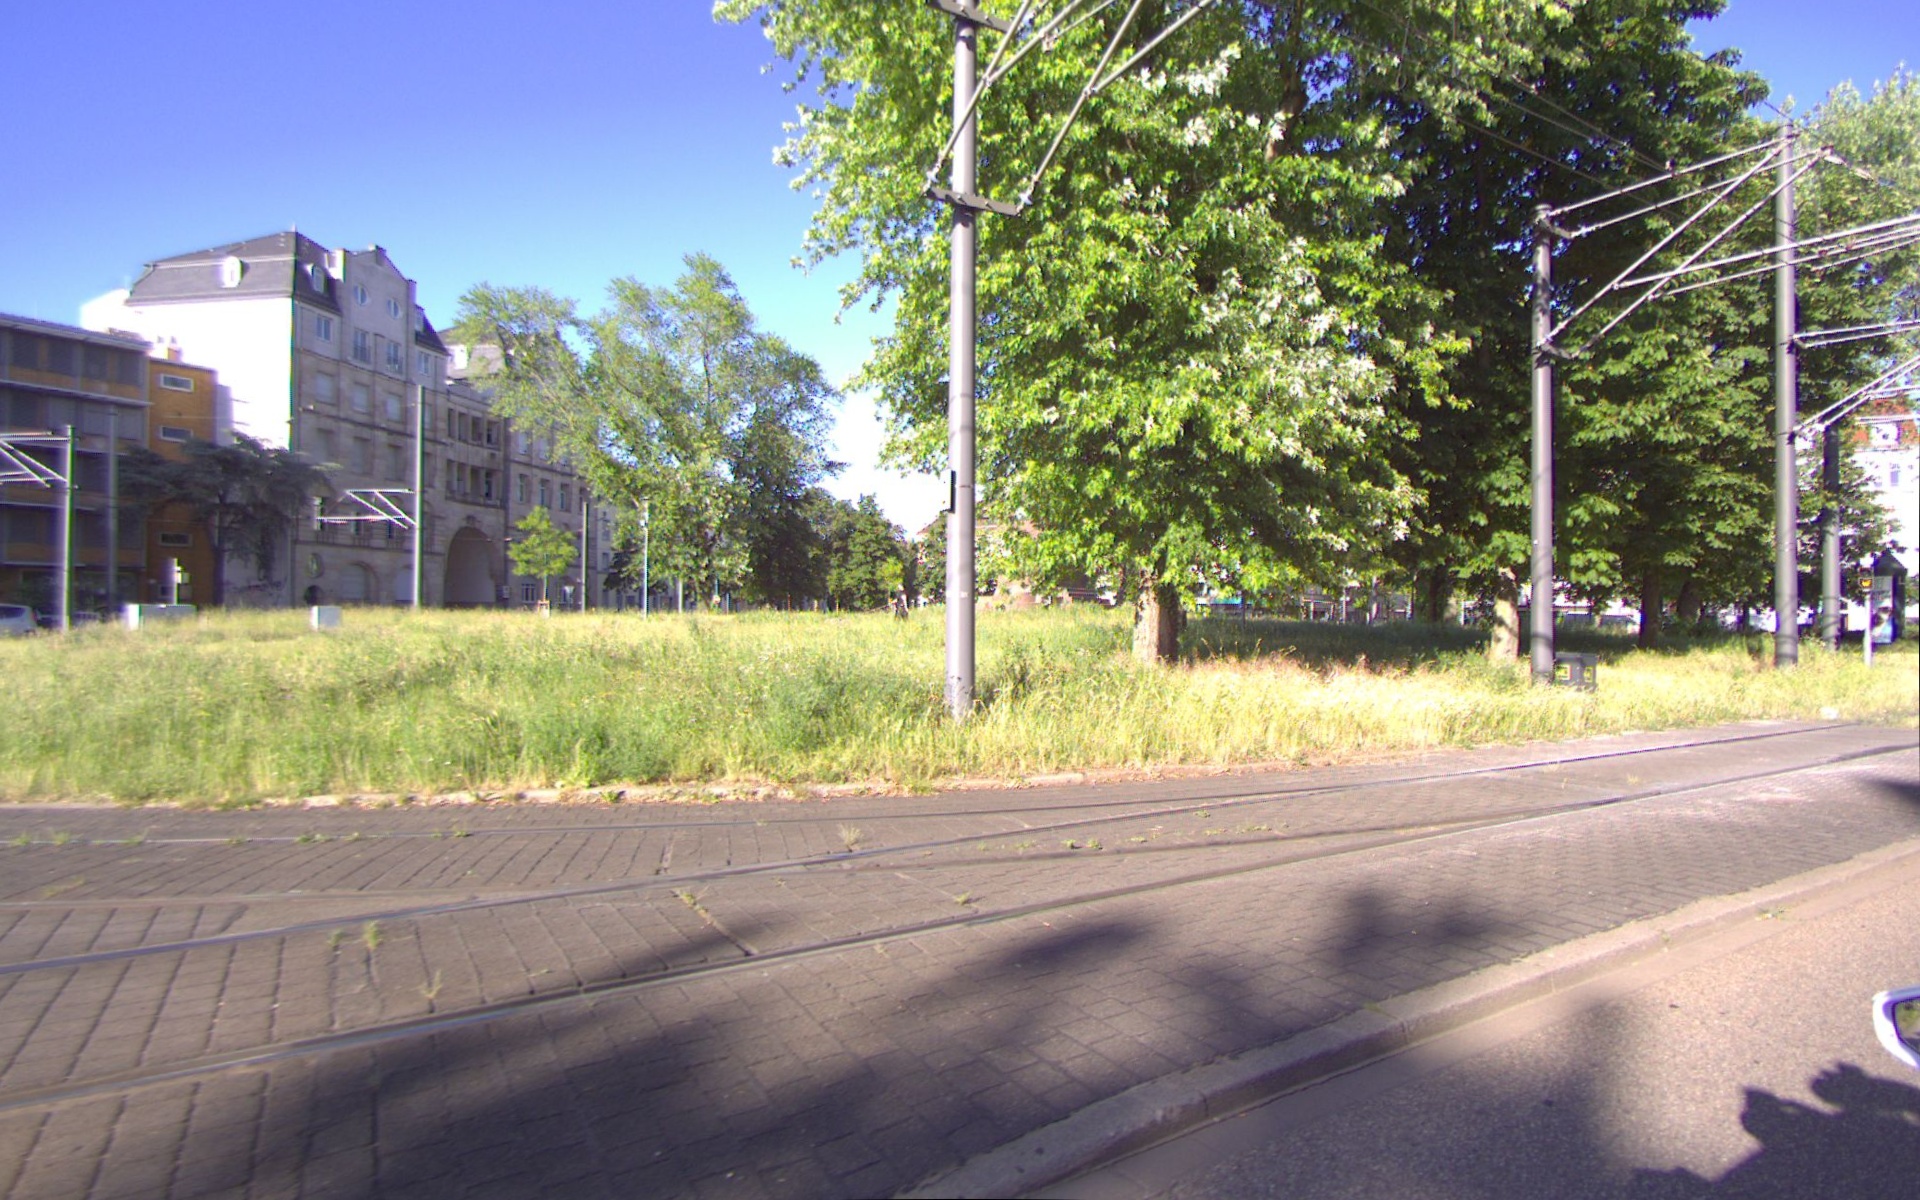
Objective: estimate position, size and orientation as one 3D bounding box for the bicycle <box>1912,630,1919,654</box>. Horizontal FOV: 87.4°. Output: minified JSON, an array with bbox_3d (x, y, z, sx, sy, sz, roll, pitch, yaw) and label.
[{"bbox_3d":[42.504,1.856,43.817,0.798,1.083,2.578,2,0,30],"label":"bicycle"}]

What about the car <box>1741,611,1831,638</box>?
[{"bbox_3d":[68.804,2.018,83.789,5.496,2.040,1.814,2,0,31],"label":"car"}]

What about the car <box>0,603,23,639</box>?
[{"bbox_3d":[-45.994,0.899,46.226,3.920,1.602,2.001,2,0,4],"label":"car"}]

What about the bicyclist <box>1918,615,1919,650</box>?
[{"bbox_3d":[42.478,1.448,43.733,0.915,1.527,0.824,2,0,30],"label":"bicyclist"}]

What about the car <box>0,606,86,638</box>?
[{"bbox_3d":[-45.444,1.047,48.973,3.920,1.359,2.001,2,0,4],"label":"car"}]

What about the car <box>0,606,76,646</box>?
[{"bbox_3d":[-35.567,0.935,36.531,1.962,1.372,4.765,1,1,23],"label":"car"}]

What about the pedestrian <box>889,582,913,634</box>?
[{"bbox_3d":[-1.908,0.265,32.570,0.661,1.637,0.555,2,0,5],"label":"pedestrian"}]

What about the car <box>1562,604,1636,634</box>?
[{"bbox_3d":[55.177,1.649,86.778,5.264,2.345,1.994,2,0,35],"label":"car"}]
